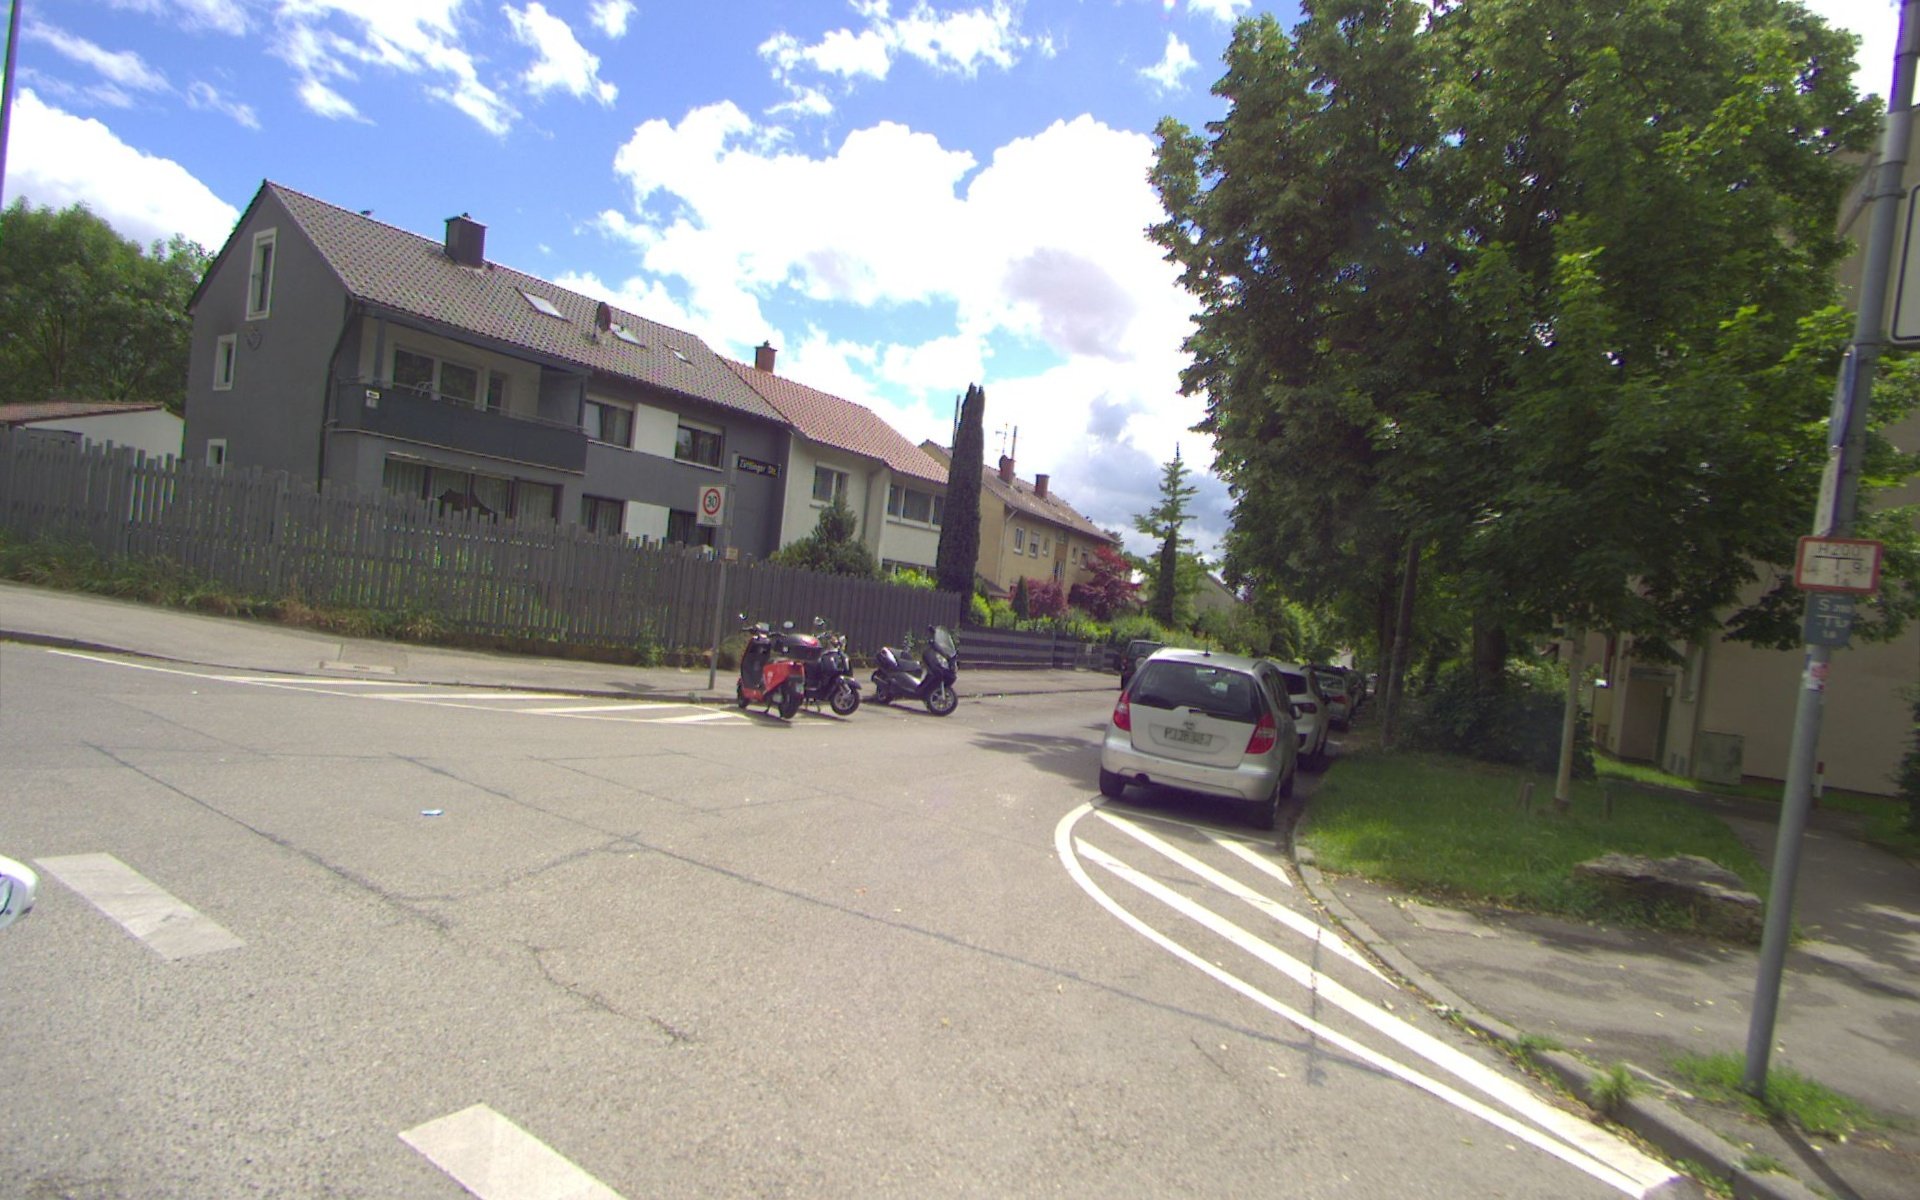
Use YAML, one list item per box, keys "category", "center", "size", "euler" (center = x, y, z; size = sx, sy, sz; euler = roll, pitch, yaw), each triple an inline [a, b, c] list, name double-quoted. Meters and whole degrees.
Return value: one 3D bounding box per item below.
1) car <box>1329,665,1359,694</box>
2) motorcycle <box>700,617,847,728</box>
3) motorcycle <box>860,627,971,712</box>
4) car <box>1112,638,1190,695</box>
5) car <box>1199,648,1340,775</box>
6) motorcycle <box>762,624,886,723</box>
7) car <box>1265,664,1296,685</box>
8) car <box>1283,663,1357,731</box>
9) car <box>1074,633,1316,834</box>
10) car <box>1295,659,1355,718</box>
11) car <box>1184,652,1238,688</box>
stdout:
- category: "car"
  center: [24.475, 5.031, 64.061]
  size: [1.568, 1.524, 3.959]
  euler: [7, -1, 22]
- category: "motorcycle"
  center: [-2.507, 0.921, 13.286]
  size: [0.656, 1.162, 2.396]
  euler: [7, -1, -41]
- category: "motorcycle"
  center: [-0.772, 1.148, 16.934]
  size: [0.656, 1.162, 1.970]
  euler: [7, -1, -42]
- category: "car"
  center: [6.643, 2.274, 34.660]
  size: [1.710, 1.659, 3.958]
  euler: [7, -1, 22]
- category: "car"
  center: [5.251, 1.751, 16.725]
  size: [1.749, 1.582, 4.017]
  euler: [8, 0, 22]
- category: "motorcycle"
  center: [-1.976, 1.025, 14.396]
  size: [0.656, 1.162, 1.970]
  euler: [7, -1, -42]
- category: "car"
  center: [24.255, 5.599, 75.977]
  size: [1.710, 1.335, 3.957]
  euler: [7, -1, 24]
- category: "car"
  center: [10.040, 2.614, 27.918]
  size: [1.660, 1.525, 3.959]
  euler: [7, -1, 22]
- category: "car"
  center: [2.812, 1.335, 11.271]
  size: [1.903, 1.572, 4.000]
  euler: [7, -1, 22]
- category: "car"
  center: [12.001, 2.843, 32.939]
  size: [1.568, 1.640, 3.959]
  euler: [7, -1, 22]
- category: "car"
  center: [11.461, 3.180, 45.714]
  size: [1.710, 1.335, 3.958]
  euler: [7, -1, 22]
